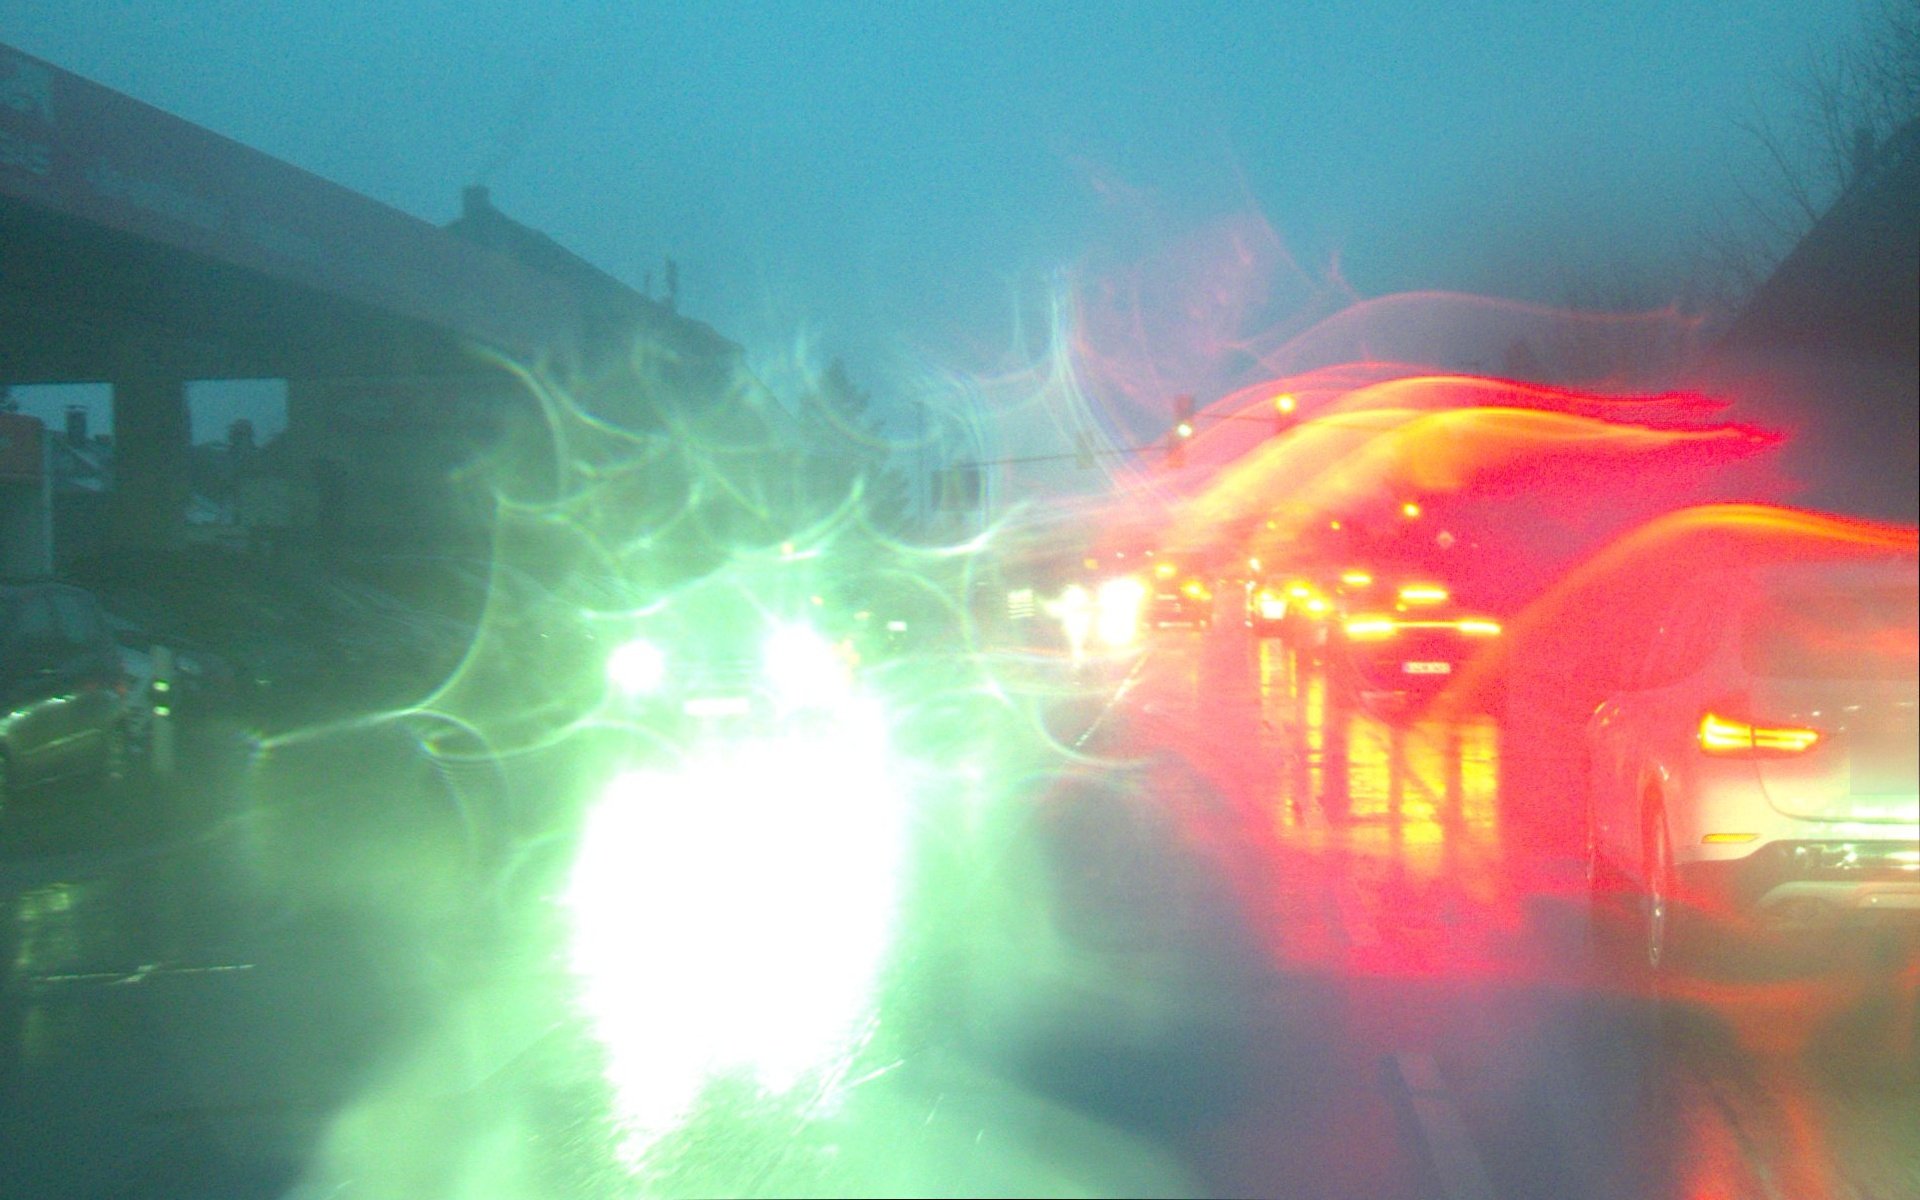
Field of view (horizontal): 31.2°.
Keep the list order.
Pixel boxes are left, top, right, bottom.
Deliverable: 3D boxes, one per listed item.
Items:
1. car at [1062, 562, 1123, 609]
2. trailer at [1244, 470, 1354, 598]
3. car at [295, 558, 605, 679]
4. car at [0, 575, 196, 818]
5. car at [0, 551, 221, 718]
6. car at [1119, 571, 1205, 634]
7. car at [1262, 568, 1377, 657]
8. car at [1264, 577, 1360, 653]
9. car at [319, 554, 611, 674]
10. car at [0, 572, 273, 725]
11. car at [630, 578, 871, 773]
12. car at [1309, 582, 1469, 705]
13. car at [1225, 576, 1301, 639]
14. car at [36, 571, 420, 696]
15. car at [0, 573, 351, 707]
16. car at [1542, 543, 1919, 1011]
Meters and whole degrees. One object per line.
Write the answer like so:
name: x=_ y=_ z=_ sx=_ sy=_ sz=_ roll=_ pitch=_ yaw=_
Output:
car: x=5.182 y=-0.570 z=134.182 sx=1.994 sy=1.740 sz=3.999 roll=-2 pitch=0 yaw=7
trailer: x=8.996 y=-1.691 z=92.167 sx=2.488 sy=3.230 sz=10.867 roll=0 pitch=0 yaw=3
car: x=-7.734 y=0.267 z=52.394 sx=4.277 sy=1.657 sz=2.000 roll=2 pitch=1 yaw=4
car: x=-6.329 y=0.563 z=22.080 sx=1.683 sy=1.416 sz=3.740 roll=-1 pitch=1 yaw=6
car: x=-8.749 y=0.270 z=30.571 sx=3.859 sy=1.405 sz=1.944 roll=1 pitch=1 yaw=4
car: x=5.308 y=0.061 z=90.834 sx=2.047 sy=1.567 sz=4.703 roll=-2 pitch=0 yaw=1
car: x=5.624 y=0.167 z=54.146 sx=1.653 sy=1.331 sz=4.271 roll=0 pitch=1 yaw=4
car: x=7.459 y=0.297 z=73.185 sx=1.836 sy=1.563 sz=4.503 roll=1 pitch=0 yaw=4
car: x=-7.950 y=0.211 z=55.478 sx=4.277 sy=1.757 sz=2.000 roll=2 pitch=1 yaw=4
car: x=-8.693 y=0.445 z=32.783 sx=3.859 sy=1.401 sz=1.840 roll=0 pitch=1 yaw=4
car: x=-1.782 y=0.611 z=30.340 sx=1.603 sy=1.529 sz=4.000 roll=-2 pitch=1 yaw=3
car: x=5.001 y=0.466 z=40.543 sx=1.641 sy=1.362 sz=4.768 roll=0 pitch=0 yaw=4
car: x=7.108 y=0.165 z=81.018 sx=1.662 sy=1.434 sz=4.381 roll=0 pitch=0 yaw=4
car: x=-8.173 y=0.358 z=38.589 sx=3.859 sy=1.341 sz=1.840 roll=0 pitch=1 yaw=4
car: x=-8.462 y=0.402 z=35.787 sx=3.859 sy=1.341 sz=1.840 roll=0 pitch=1 yaw=4
car: x=3.410 y=0.565 z=13.767 sx=1.708 sy=1.570 sz=4.463 roll=-1 pitch=1 yaw=4
